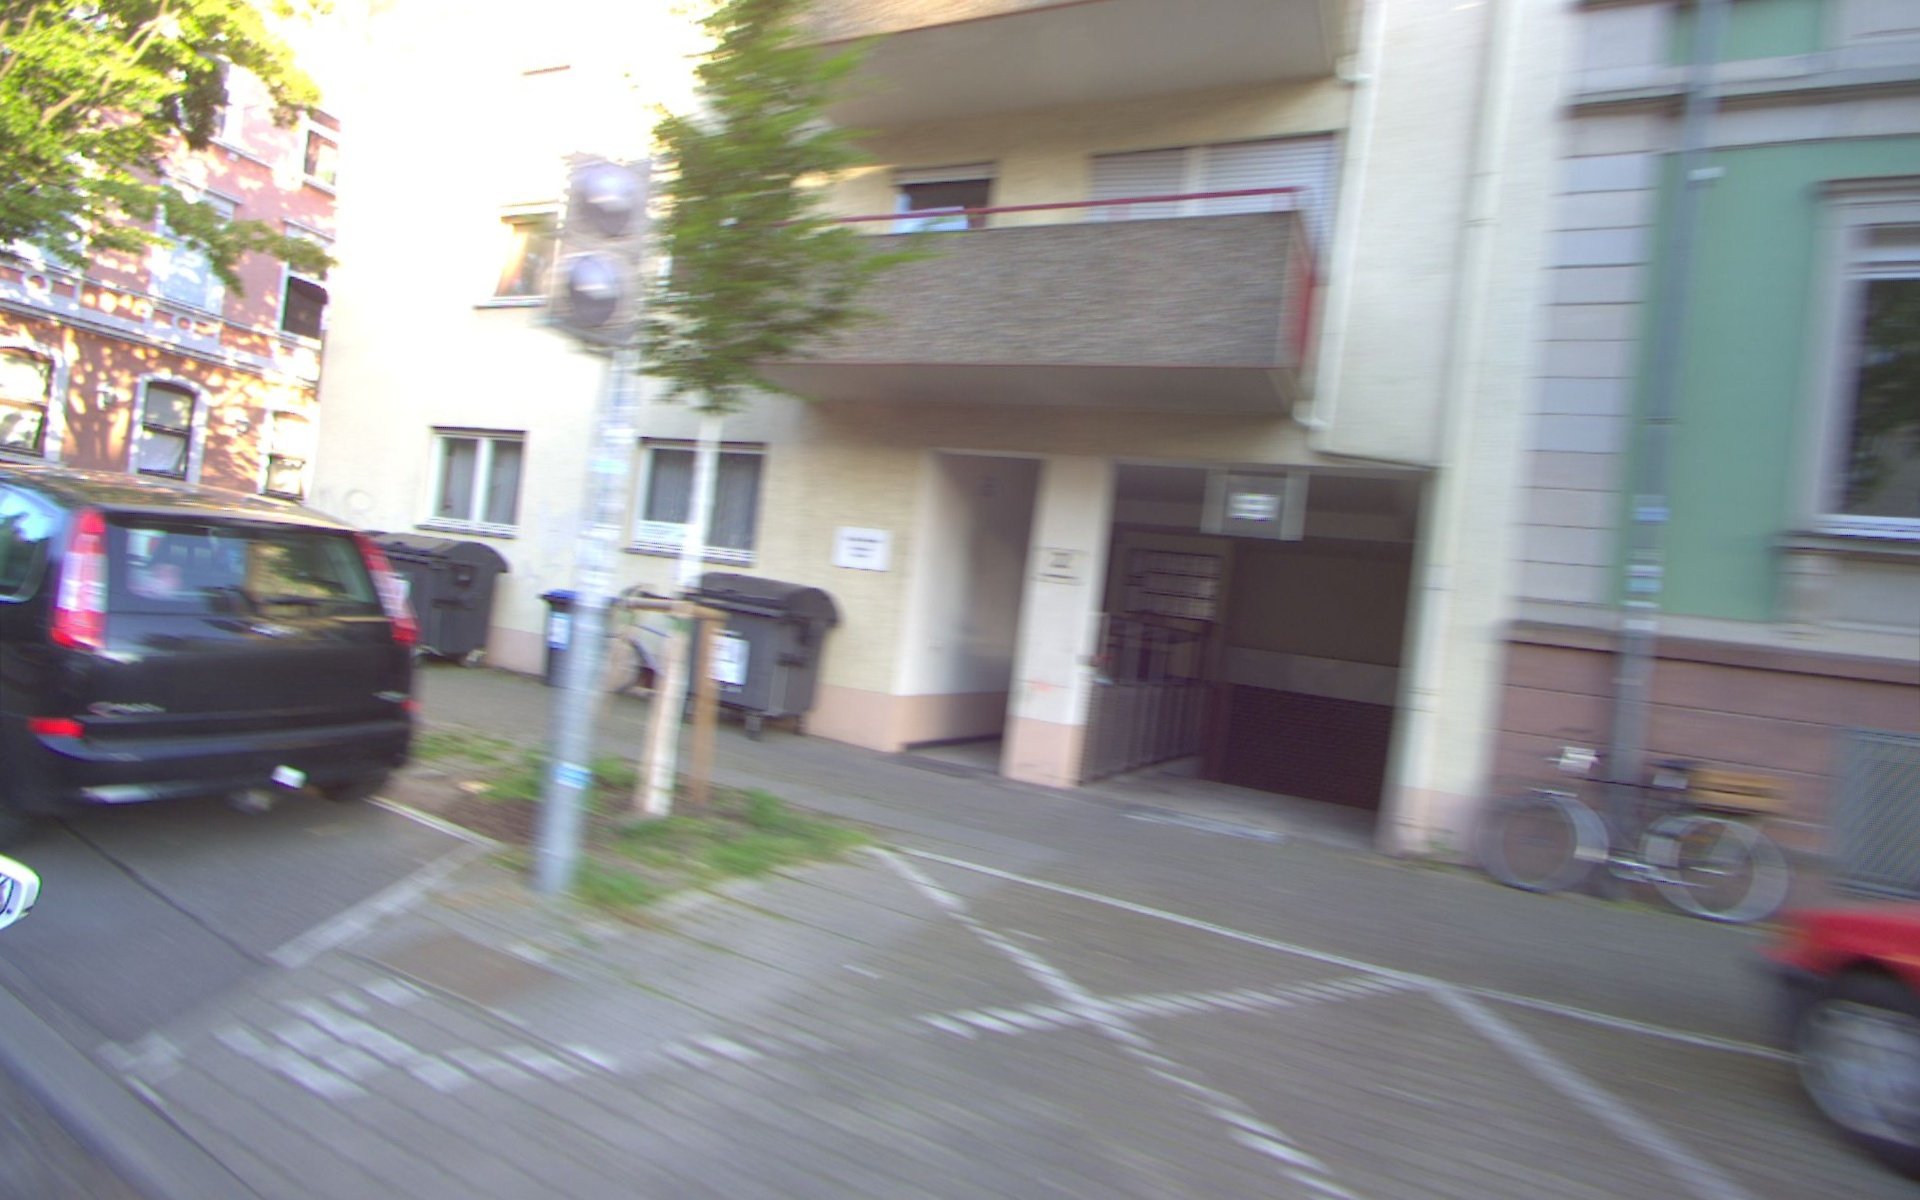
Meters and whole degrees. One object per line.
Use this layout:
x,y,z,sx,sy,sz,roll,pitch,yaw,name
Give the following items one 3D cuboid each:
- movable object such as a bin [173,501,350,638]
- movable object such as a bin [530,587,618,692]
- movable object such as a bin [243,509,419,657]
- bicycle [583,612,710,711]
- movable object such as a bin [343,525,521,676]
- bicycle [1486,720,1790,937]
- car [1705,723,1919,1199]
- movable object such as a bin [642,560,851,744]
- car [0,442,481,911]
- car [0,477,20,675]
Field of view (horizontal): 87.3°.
-9.119,-0.388,13.156,1.569,1.520,1.144,7,-1,25,movable object such as a bin
-4.205,0.434,10.973,0.560,1.060,0.555,7,0,24,movable object such as a bin
-7.372,-0.179,11.828,1.295,1.520,1.075,7,-1,24,movable object such as a bin
-3.343,0.646,10.726,1.202,0.875,0.414,7,0,20,bicycle
-6.056,0.020,11.584,1.248,1.520,1.144,7,-1,25,movable object such as a bin
4.531,1.492,6.861,1.528,1.087,0.652,7,-1,25,bicycle
3.911,1.279,1.871,1.616,1.471,4.209,7,-1,-3,car
-2.056,0.498,9.796,1.455,1.520,1.116,7,-1,25,movable object such as a bin
-4.645,0.114,5.268,4.018,1.653,1.746,7,1,29,car
-9.439,-0.398,8.217,3.631,1.556,1.566,7,1,31,car
